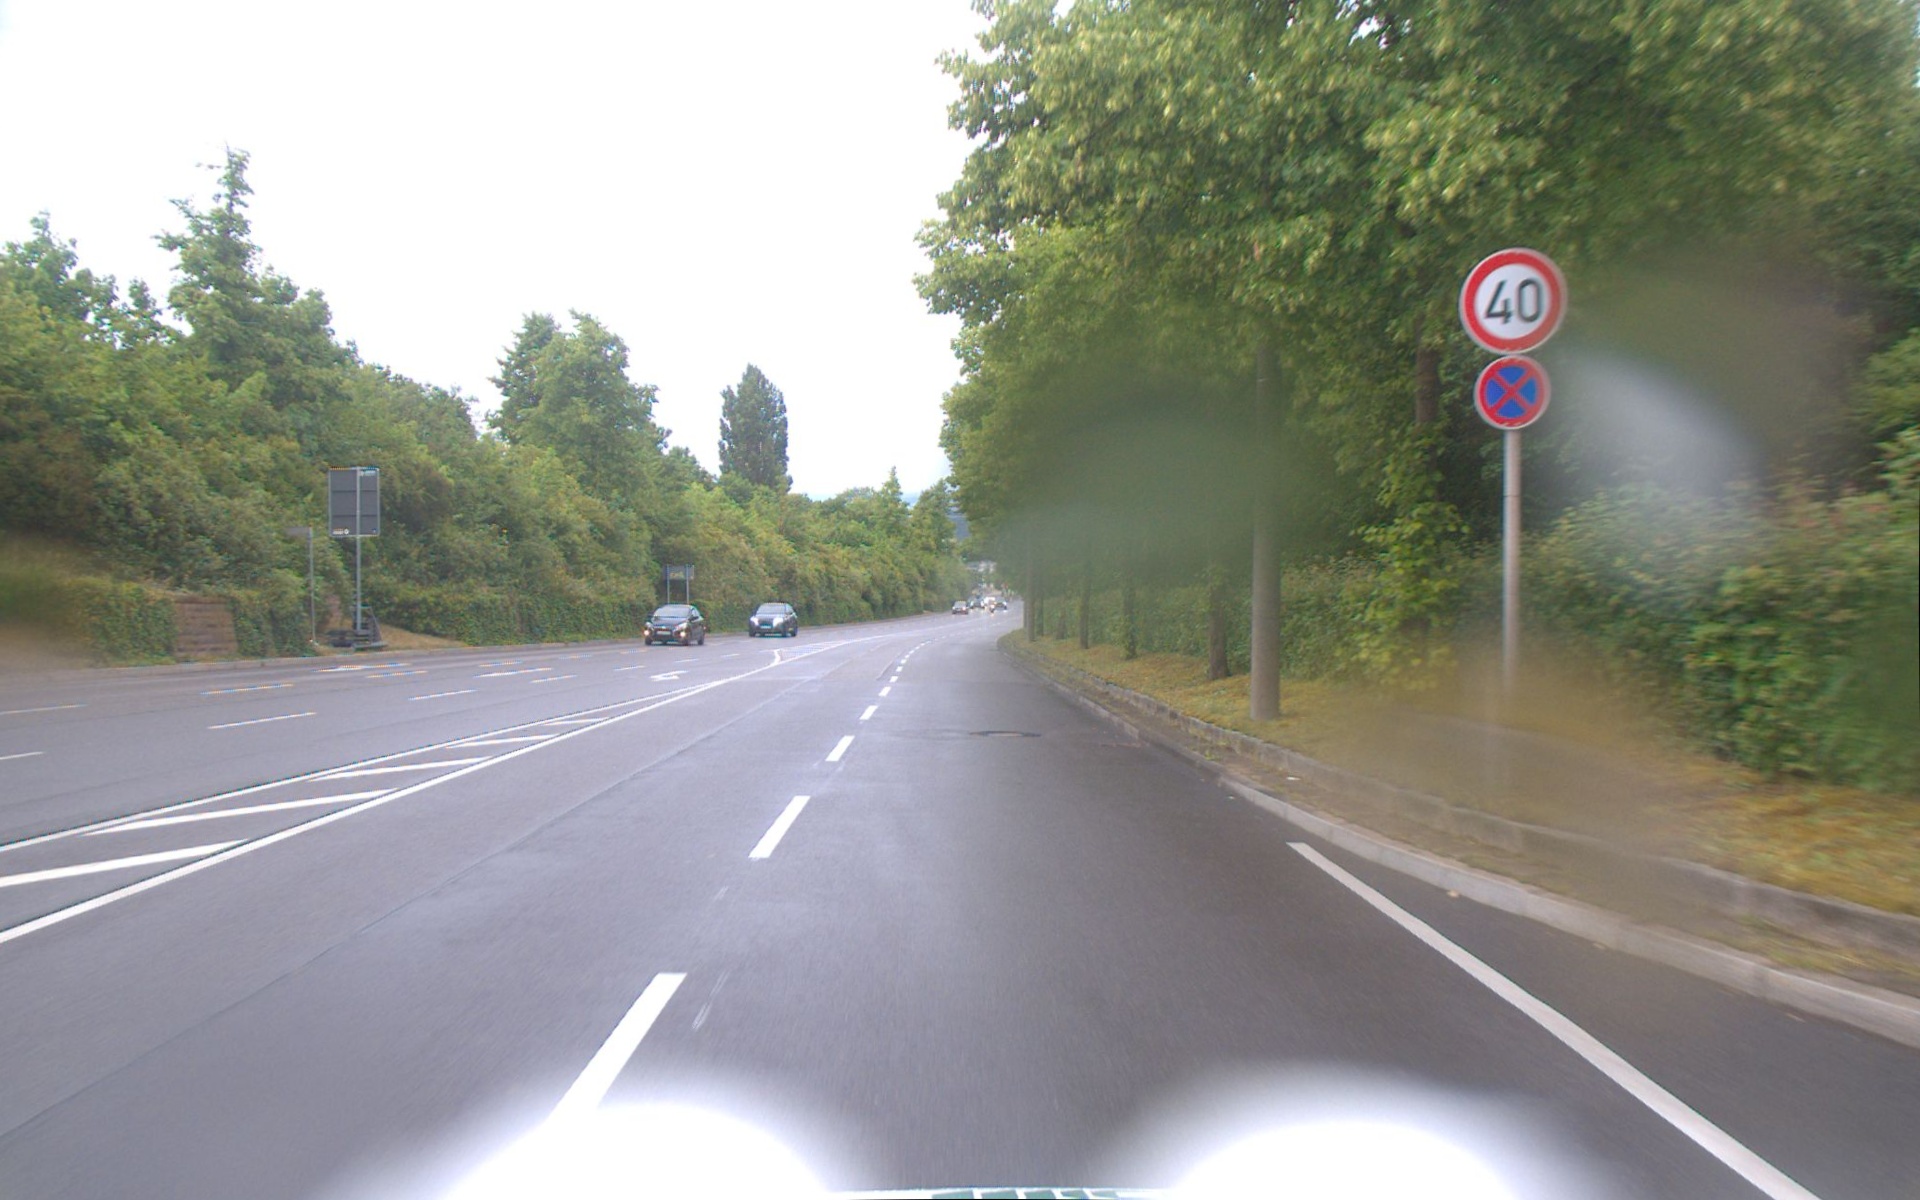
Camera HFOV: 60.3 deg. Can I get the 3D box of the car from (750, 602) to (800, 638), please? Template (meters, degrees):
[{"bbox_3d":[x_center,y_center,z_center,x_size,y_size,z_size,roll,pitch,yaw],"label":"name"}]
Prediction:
[{"bbox_3d":[-9.075,0.971,81.288,1.826,1.617,3.893,2,0,2],"label":"car"}]

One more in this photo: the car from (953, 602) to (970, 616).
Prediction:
[{"bbox_3d":[0.175,1.048,189.260,1.826,1.490,3.893,2,0,2],"label":"car"}]

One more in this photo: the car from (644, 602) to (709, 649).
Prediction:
[{"bbox_3d":[-10.386,0.898,60.804,1.690,1.593,3.892,2,0,0],"label":"car"}]

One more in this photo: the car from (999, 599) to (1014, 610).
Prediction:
[{"bbox_3d":[6.637,0.664,236.744,1.825,1.490,3.895,2,0,5],"label":"car"}]

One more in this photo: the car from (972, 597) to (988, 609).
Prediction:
[{"bbox_3d":[2.832,0.415,232.577,1.825,1.490,3.895,2,0,5],"label":"car"}]
